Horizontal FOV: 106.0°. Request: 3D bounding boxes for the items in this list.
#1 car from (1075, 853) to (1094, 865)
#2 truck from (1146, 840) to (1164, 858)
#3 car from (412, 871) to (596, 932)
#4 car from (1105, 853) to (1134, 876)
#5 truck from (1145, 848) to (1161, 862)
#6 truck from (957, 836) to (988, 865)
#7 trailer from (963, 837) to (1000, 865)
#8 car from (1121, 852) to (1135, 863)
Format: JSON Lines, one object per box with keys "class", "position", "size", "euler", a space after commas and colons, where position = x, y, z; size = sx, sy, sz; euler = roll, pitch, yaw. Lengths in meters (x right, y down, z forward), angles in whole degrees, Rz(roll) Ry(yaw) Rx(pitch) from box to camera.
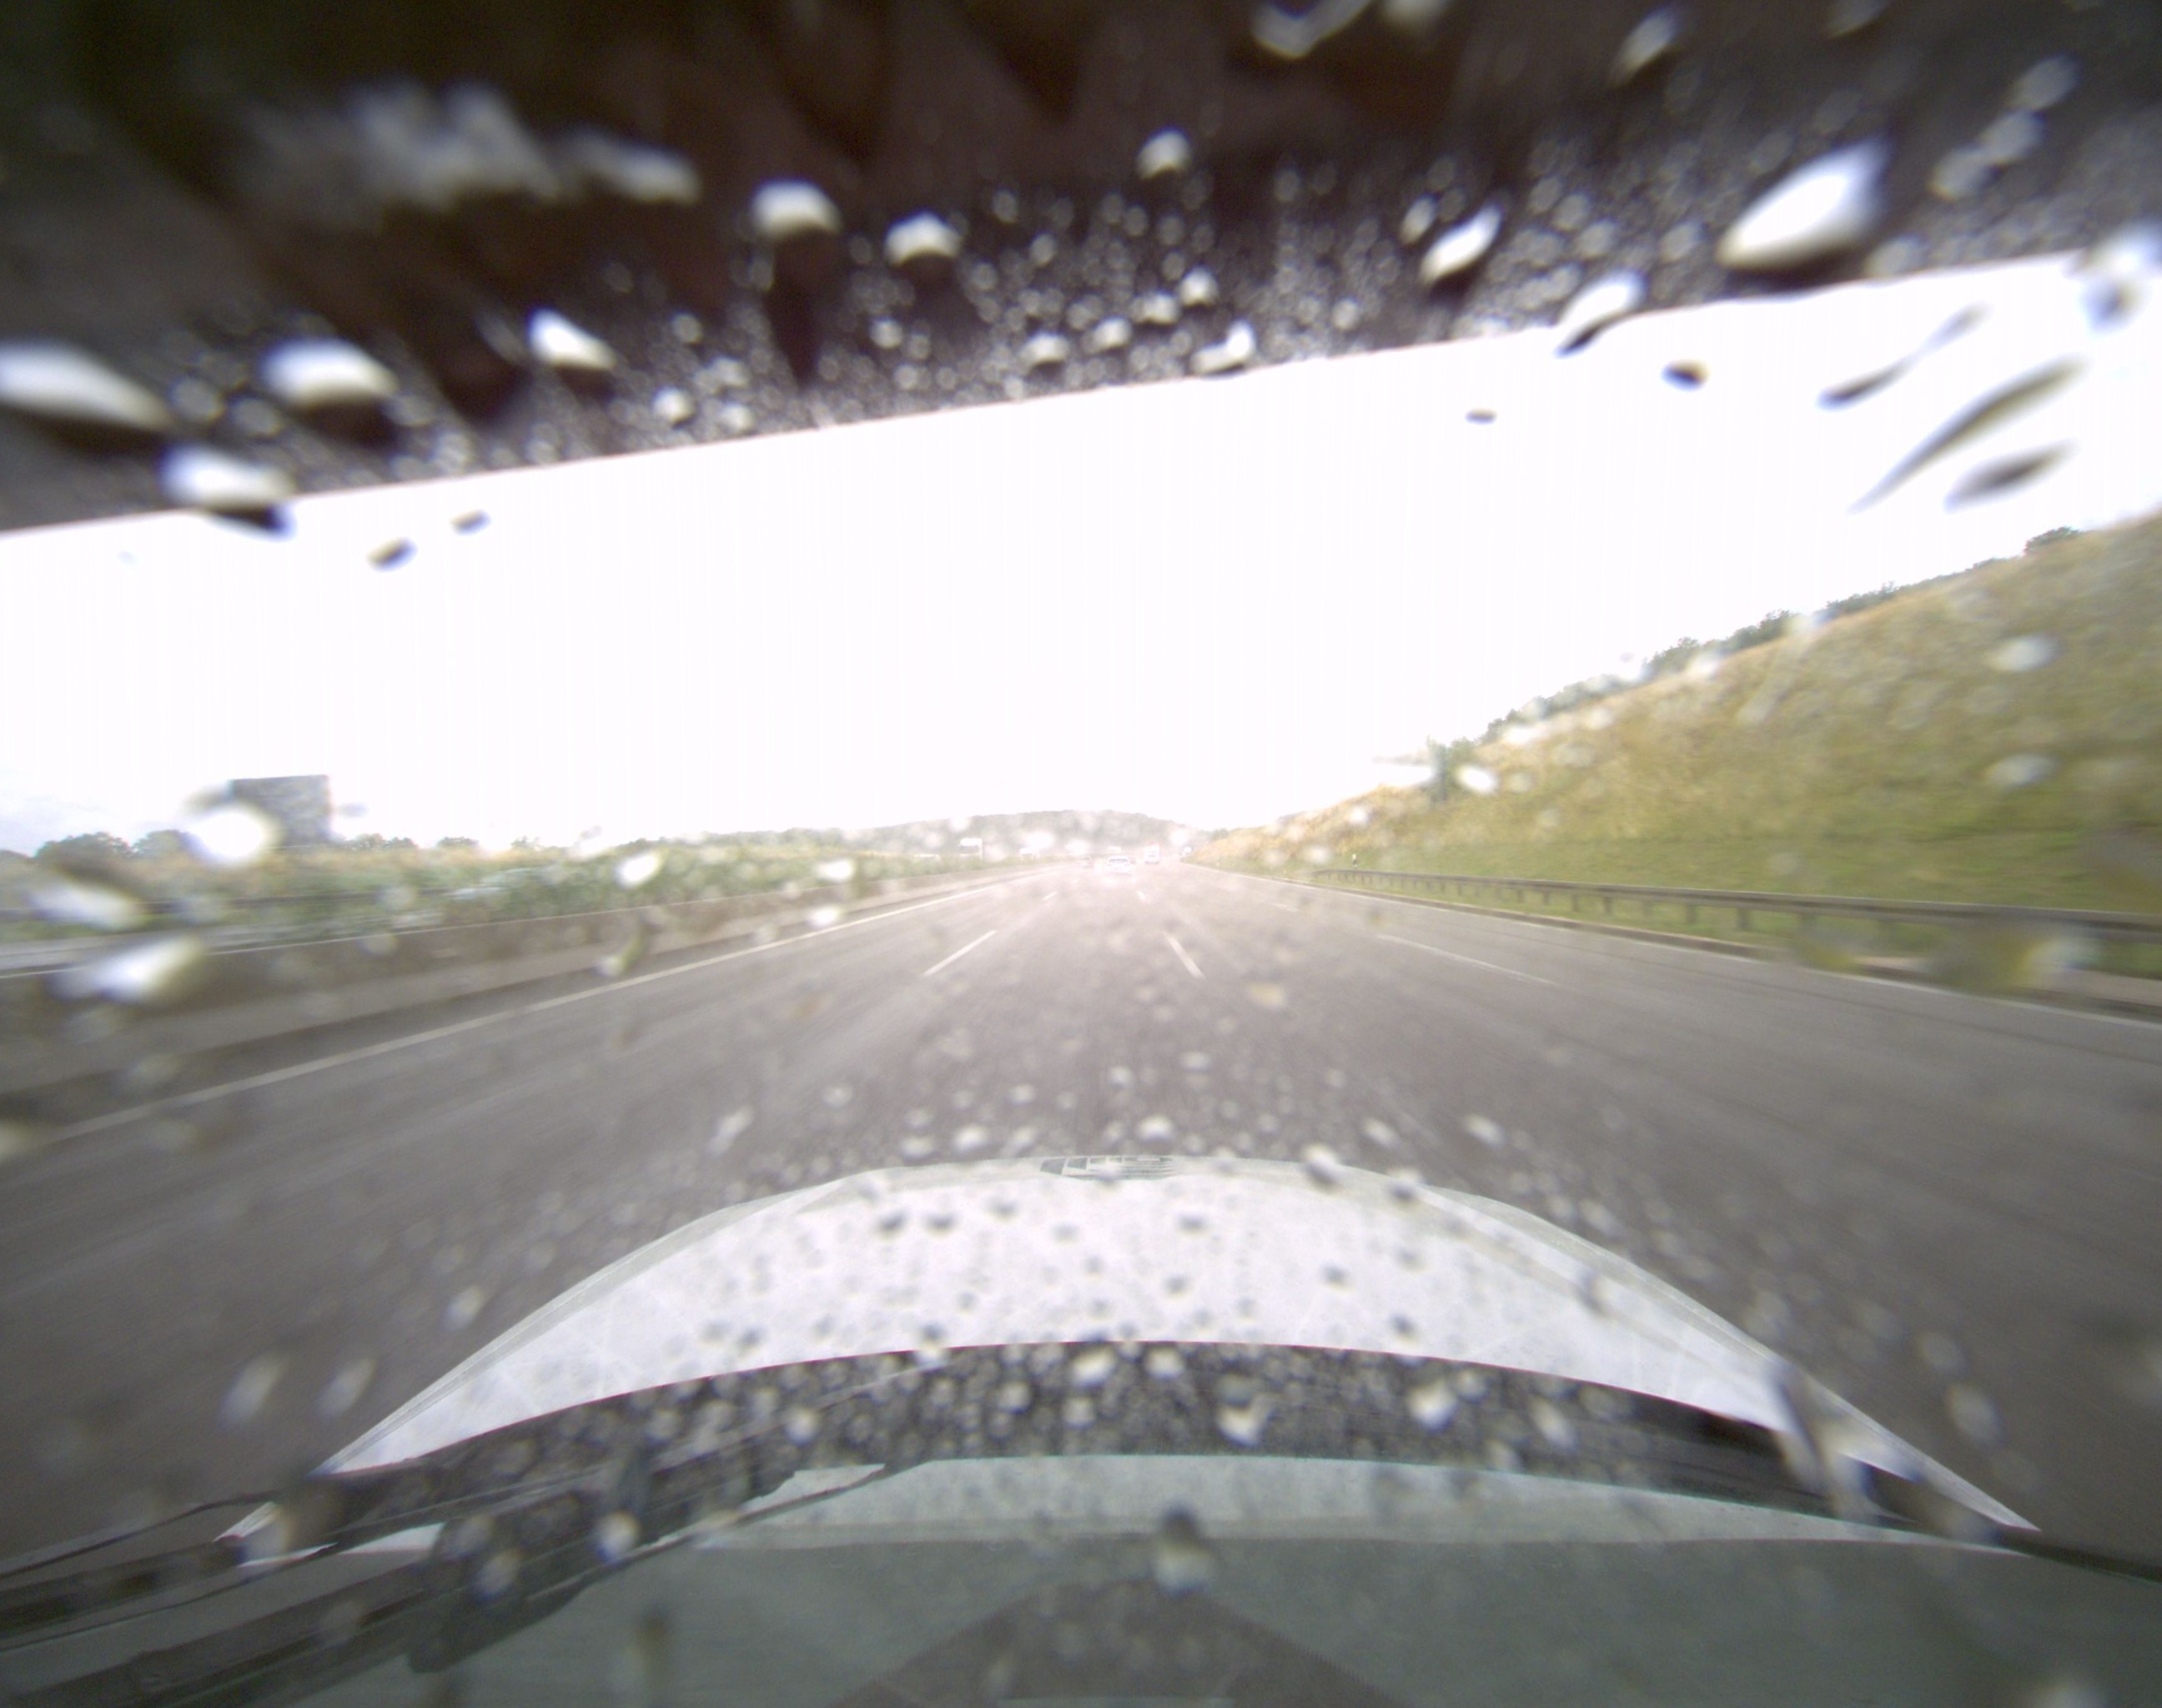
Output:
{"class": "car", "position": [0.347, 0.555, 82.606], "size": [1.819, 1.156, 4.209], "euler": [0, -1, -2]}
{"class": "truck", "position": [16.046, -1.223, 177.032], "size": [3.512, 3.742, 11.437], "euler": [0, 1, 3]}
{"class": "car", "position": [-15.029, 1.184, 21.512], "size": [1.871, 1.332, 4.003], "euler": [-1, 0, 3]}
{"class": "car", "position": [2.559, 0.719, 54.852], "size": [1.861, 1.463, 4.000], "euler": [-1, -1, 1]}
{"class": "truck", "position": [11.361, 0.154, 128.070], "size": [2.397, 2.252, 4.699], "euler": [-1, 0, 4]}
{"class": "truck", "position": [-14.097, -0.386, 106.290], "size": [2.767, 3.608, 5.745], "euler": [-1, -1, 4]}
{"class": "trailer", "position": [-13.598, -0.286, 111.963], "size": [2.750, 3.621, 11.164], "euler": [-1, -1, 5]}
{"class": "car", "position": [7.019, 0.517, 122.642], "size": [1.985, 1.618, 4.003], "euler": [-1, 0, 3]}
